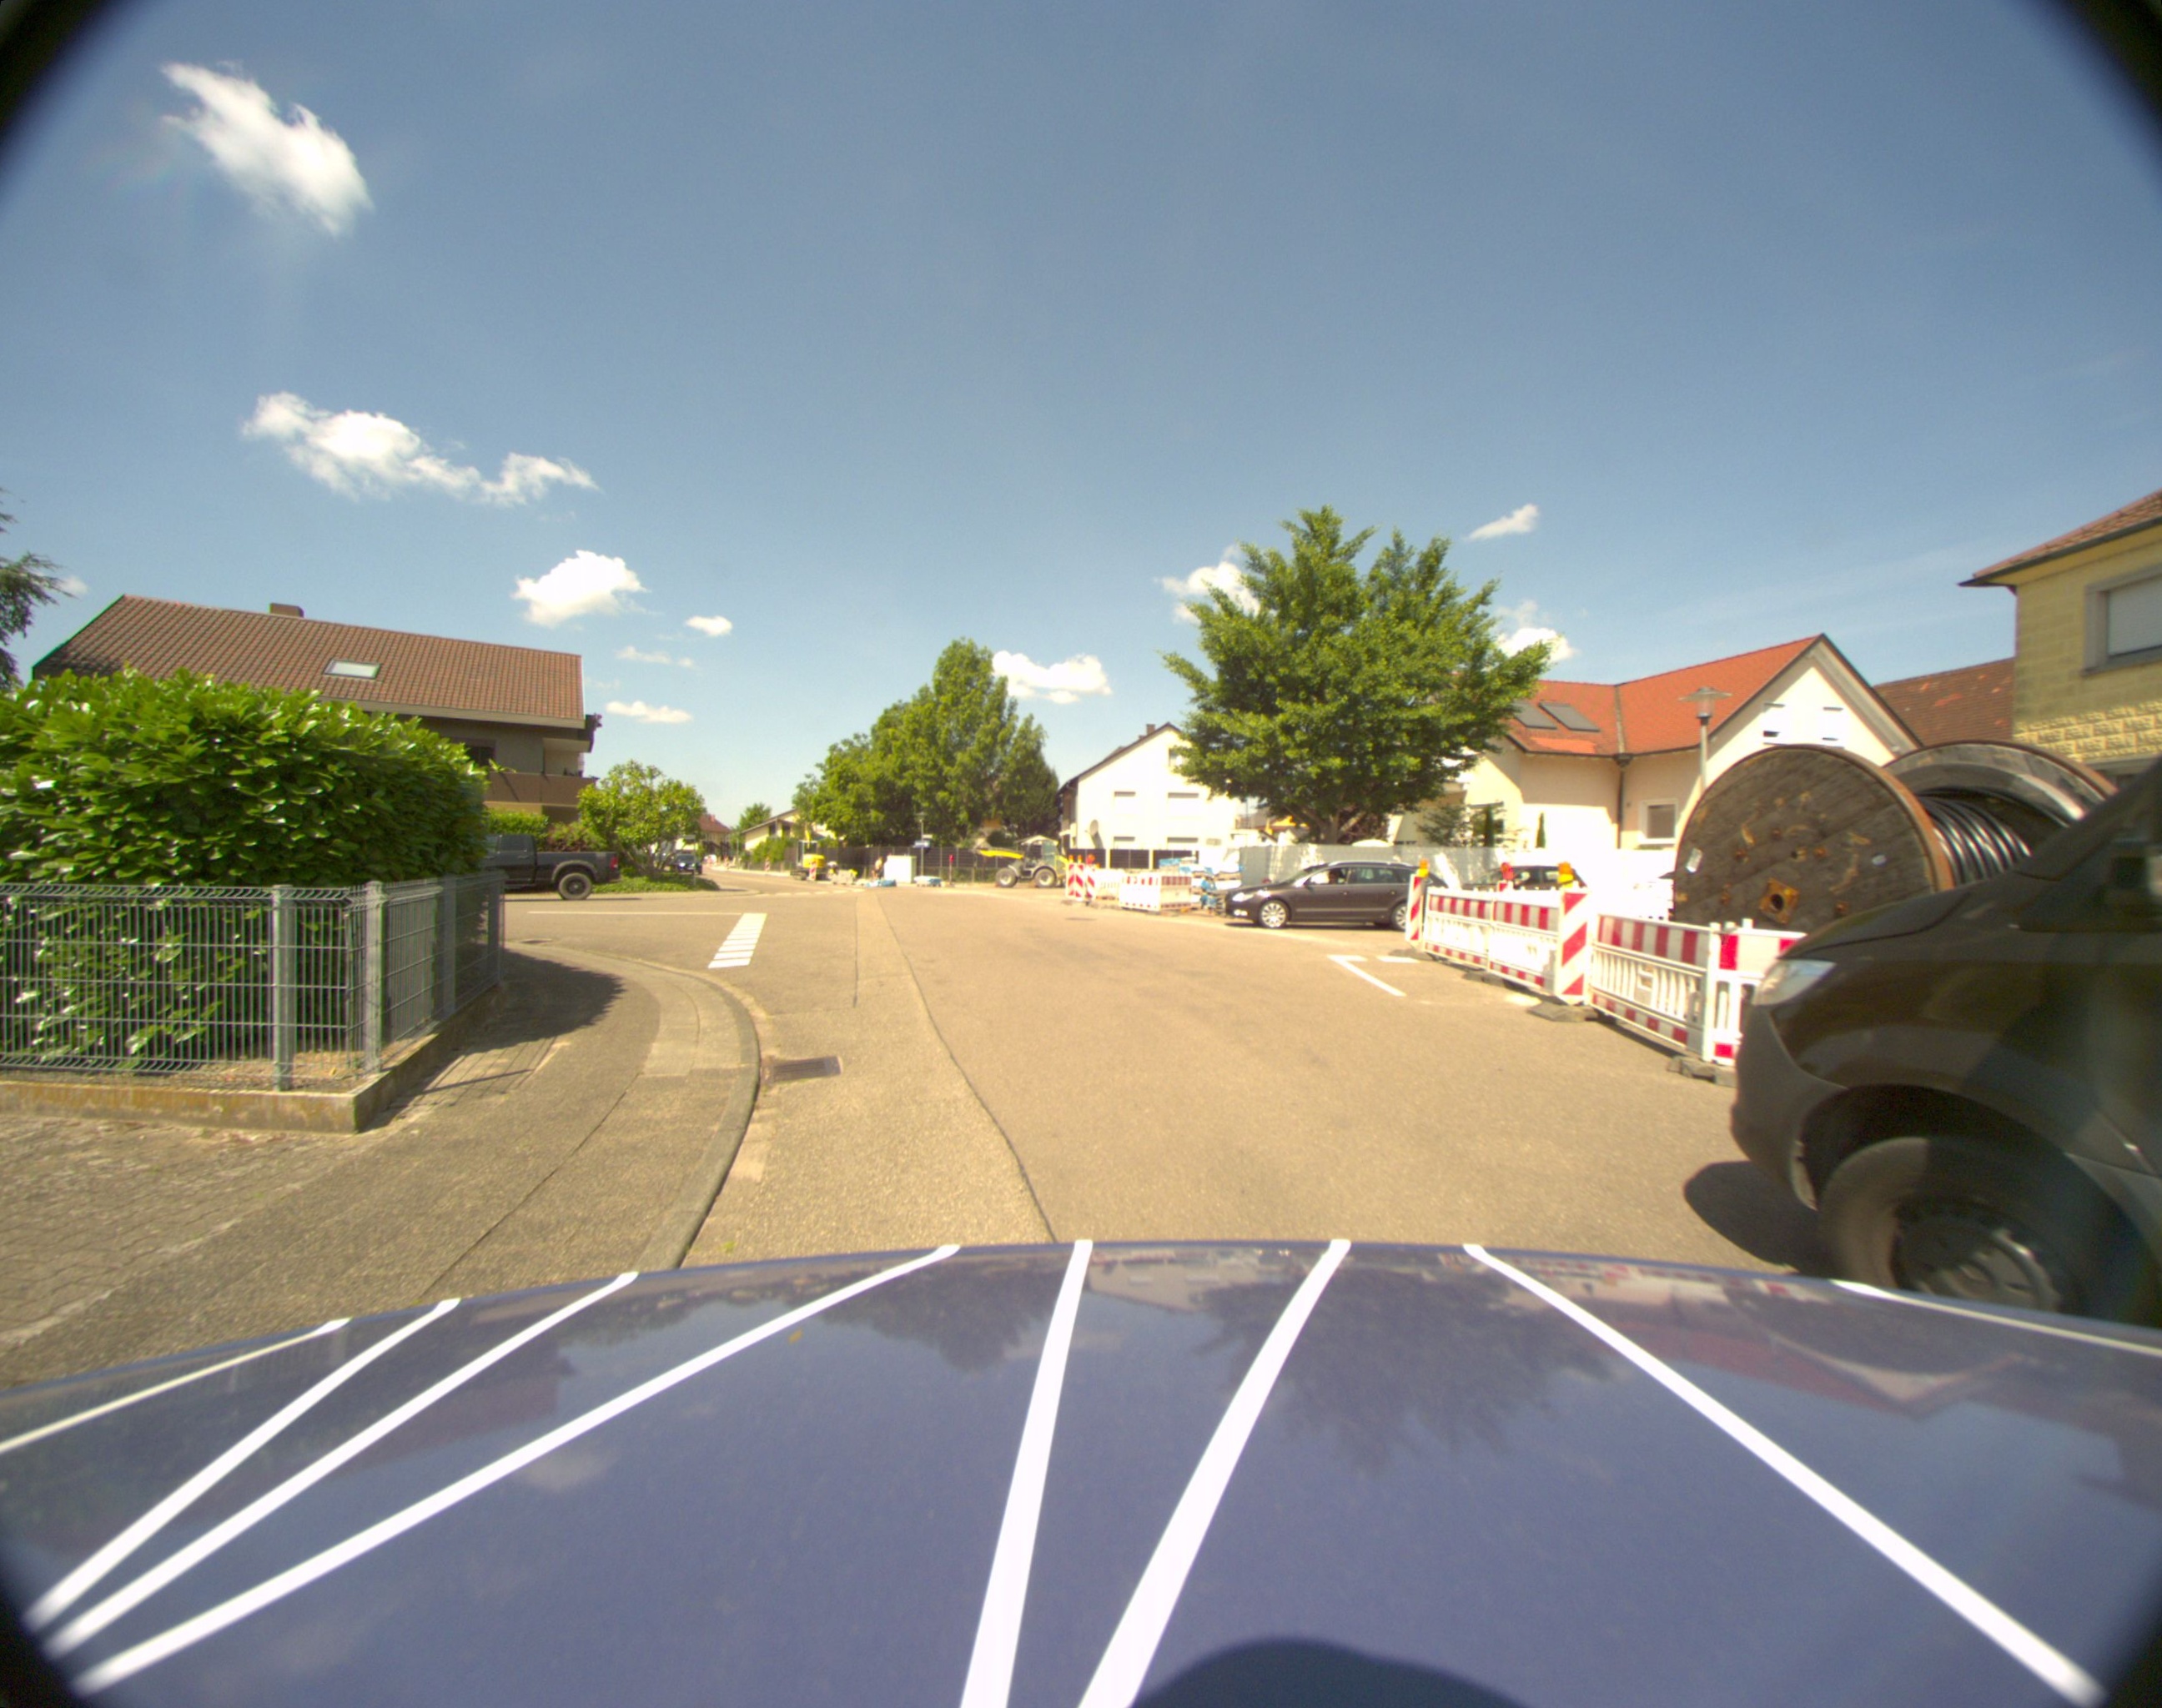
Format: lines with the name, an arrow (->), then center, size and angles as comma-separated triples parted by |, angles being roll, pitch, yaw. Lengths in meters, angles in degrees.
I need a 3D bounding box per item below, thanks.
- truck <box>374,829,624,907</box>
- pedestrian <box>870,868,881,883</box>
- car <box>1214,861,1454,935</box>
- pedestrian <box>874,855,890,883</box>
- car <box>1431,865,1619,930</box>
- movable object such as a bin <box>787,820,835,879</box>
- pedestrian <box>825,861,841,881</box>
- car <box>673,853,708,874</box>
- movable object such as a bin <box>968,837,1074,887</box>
truck -> -17.276, 0.459, 22.961 | 5.724, 2.000, 2.367 | 0, -6, -36
pedestrian -> -11.509, 1.206, 42.489 | 0.431, 0.788, 0.523 | 0, 1, 3
car -> 5.386, 0.936, 16.686 | 4.705, 1.526, 1.787 | 0, -1, 4
pedestrian -> -10.661, 0.796, 40.724 | 0.851, 1.505, 0.532 | 0, 1, -13
car -> 11.248, 1.091, 19.340 | 4.037, 1.523, 1.717 | 0, -3, -13
movable object such as a bin -> -17.044, -0.259, 47.927 | 2.004, 3.544, 3.805 | 0, 0, -33
pedestrian -> -14.786, 1.034, 45.367 | 0.510, 1.162, 0.826 | 0, 1, 15
car -> -30.423, 0.723, 59.194 | 1.924, 1.533, 3.989 | 0, 0, -35
movable object such as a bin -> -2.974, 0.429, 38.313 | 5.229, 2.437, 2.000 | 0, -1, -2
